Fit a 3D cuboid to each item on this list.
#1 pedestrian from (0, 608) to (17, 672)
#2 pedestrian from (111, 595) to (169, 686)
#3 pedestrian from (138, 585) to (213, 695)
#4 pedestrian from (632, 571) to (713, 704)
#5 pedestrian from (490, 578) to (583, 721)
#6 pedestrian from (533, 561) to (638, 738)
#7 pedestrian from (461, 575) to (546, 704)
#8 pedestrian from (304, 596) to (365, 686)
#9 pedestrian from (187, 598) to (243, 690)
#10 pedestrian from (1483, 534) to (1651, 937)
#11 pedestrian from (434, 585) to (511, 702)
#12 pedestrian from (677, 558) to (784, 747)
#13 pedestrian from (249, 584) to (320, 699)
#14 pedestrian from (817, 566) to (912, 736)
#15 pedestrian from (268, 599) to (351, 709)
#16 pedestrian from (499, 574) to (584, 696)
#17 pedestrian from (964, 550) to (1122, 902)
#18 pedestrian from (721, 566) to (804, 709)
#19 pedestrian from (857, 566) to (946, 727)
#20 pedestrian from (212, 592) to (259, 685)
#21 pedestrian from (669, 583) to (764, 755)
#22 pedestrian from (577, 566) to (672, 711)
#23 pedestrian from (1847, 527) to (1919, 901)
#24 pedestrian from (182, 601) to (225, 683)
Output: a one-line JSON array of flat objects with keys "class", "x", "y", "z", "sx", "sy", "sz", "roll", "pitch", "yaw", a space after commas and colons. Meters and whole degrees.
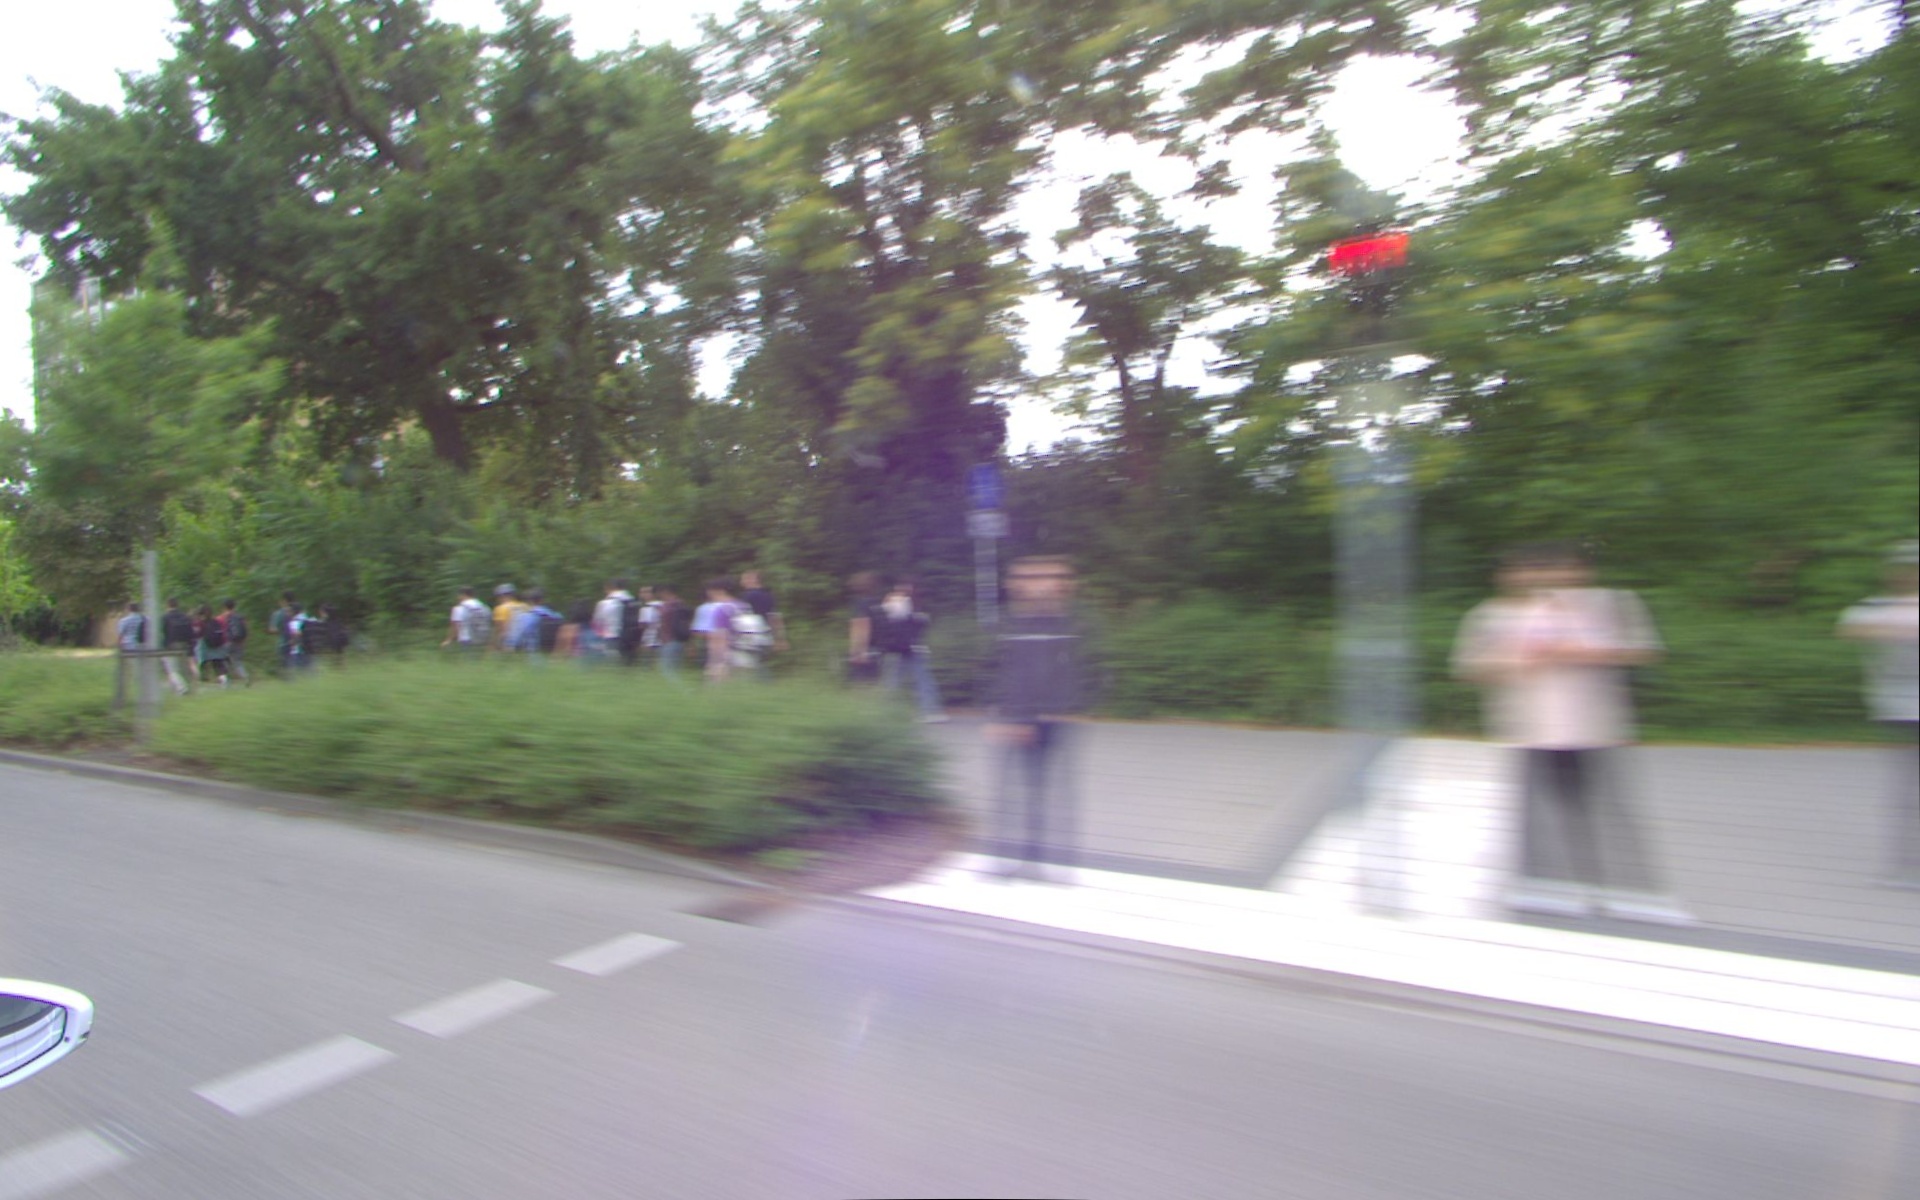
[{"class": "pedestrian", "x": -26.103, "y": 1.081, "z": 27.132, "sx": 0.737, "sy": 1.705, "sz": 0.586, "roll": -1, "pitch": 1, "yaw": 31}, {"class": "pedestrian", "x": -16.071, "y": 0.782, "z": 19.629, "sx": 0.802, "sy": 1.758, "sz": 0.618, "roll": -1, "pitch": 1, "yaw": 31}, {"class": "pedestrian", "x": -13.557, "y": 0.675, "z": 17.312, "sx": 0.940, "sy": 1.845, "sz": 0.691, "roll": -1, "pitch": 1, "yaw": 31}, {"class": "pedestrian", "x": -3.852, "y": 0.488, "z": 13.440, "sx": 0.768, "sy": 1.722, "sz": 0.656, "roll": -1, "pitch": 1, "yaw": 28}, {"class": "pedestrian", "x": -5.143, "y": 0.589, "z": 12.174, "sx": 0.800, "sy": 1.670, "sz": 0.656, "roll": -1, "pitch": 1, "yaw": 28}, {"class": "pedestrian", "x": -3.908, "y": 0.501, "z": 10.461, "sx": 0.768, "sy": 1.768, "sz": 0.656, "roll": -1, "pitch": 1, "yaw": 28}, {"class": "pedestrian", "x": -6.243, "y": 0.529, "z": 13.707, "sx": 0.829, "sy": 1.712, "sz": 0.656, "roll": -1, "pitch": 1, "yaw": 28}, {"class": "pedestrian", "x": -11.419, "y": 0.739, "z": 18.283, "sx": 0.774, "sy": 1.605, "sz": 0.634, "roll": -1, "pitch": 1, "yaw": 31}, {"class": "pedestrian", "x": -13.791, "y": 0.802, "z": 18.536, "sx": 0.742, "sy": 1.677, "sz": 0.554, "roll": -1, "pitch": 1, "yaw": 31}, {"class": "pedestrian", "x": 2.832, "y": 0.599, "z": 4.718, "sx": 0.627, "sy": 1.758, "sz": 0.453, "roll": -1, "pitch": 1, "yaw": 28}, {"class": "pedestrian", "x": -7.582, "y": 0.661, "z": 15.579, "sx": 0.800, "sy": 1.768, "sz": 0.720, "roll": -1, "pitch": 1, "yaw": 31}, {"class": "pedestrian", "x": -2.237, "y": 0.497, "z": 9.792, "sx": 0.768, "sy": 1.768, "sz": 0.623, "roll": -1, "pitch": 1, "yaw": 28}, {"class": "pedestrian", "x": -11.140, "y": 0.667, "z": 16.509, "sx": 0.800, "sy": 1.845, "sz": 0.655, "roll": -1, "pitch": 1, "yaw": 31}, {"class": "pedestrian", "x": -1.030, "y": 0.540, "z": 10.879, "sx": 0.768, "sy": 1.768, "sz": 0.656, "roll": -1, "pitch": 1, "yaw": 28}, {"class": "pedestrian", "x": -10.036, "y": 0.814, "z": 15.460, "sx": 0.800, "sy": 1.624, "sz": 0.774, "roll": -1, "pitch": 1, "yaw": 31}, {"class": "pedestrian", "x": -6.025, "y": 0.493, "z": 14.425, "sx": 0.956, "sy": 1.689, "sz": 0.656, "roll": -1, "pitch": 1, "yaw": 28}, {"class": "pedestrian", "x": 0.460, "y": 0.636, "z": 5.419, "sx": 0.644, "sy": 1.758, "sz": 0.601, "roll": -1, "pitch": 0, "yaw": 28}, {"class": "pedestrian", "x": -2.525, "y": 0.463, "z": 12.838, "sx": 0.768, "sy": 1.768, "sz": 0.656, "roll": -1, "pitch": 1, "yaw": 28}, {"class": "pedestrian", "x": -0.664, "y": 0.513, "z": 11.461, "sx": 0.768, "sy": 1.768, "sz": 0.656, "roll": -1, "pitch": 1, "yaw": 28}, {"class": "pedestrian", "x": -14.106, "y": 0.741, "z": 19.493, "sx": 0.654, "sy": 1.787, "sz": 0.483, "roll": -1, "pitch": 1, "yaw": 31}, {"class": "pedestrian", "x": -2.601, "y": 0.716, "z": 10.716, "sx": 0.777, "sy": 1.768, "sz": 0.580, "roll": -1, "pitch": 1, "yaw": 28}, {"class": "pedestrian", "x": -4.312, "y": 0.480, "z": 12.873, "sx": 0.943, "sy": 1.790, "sz": 0.656, "roll": -1, "pitch": 1, "yaw": 28}, {"class": "pedestrian", "x": 4.689, "y": 0.519, "z": 4.723, "sx": 0.627, "sy": 1.709, "sz": 0.545, "roll": -1, "pitch": 0, "yaw": 28}, {"class": "pedestrian", "x": -15.561, "y": 0.864, "z": 20.608, "sx": 0.643, "sy": 1.655, "sz": 0.467, "roll": -1, "pitch": 1, "yaw": 31}]
